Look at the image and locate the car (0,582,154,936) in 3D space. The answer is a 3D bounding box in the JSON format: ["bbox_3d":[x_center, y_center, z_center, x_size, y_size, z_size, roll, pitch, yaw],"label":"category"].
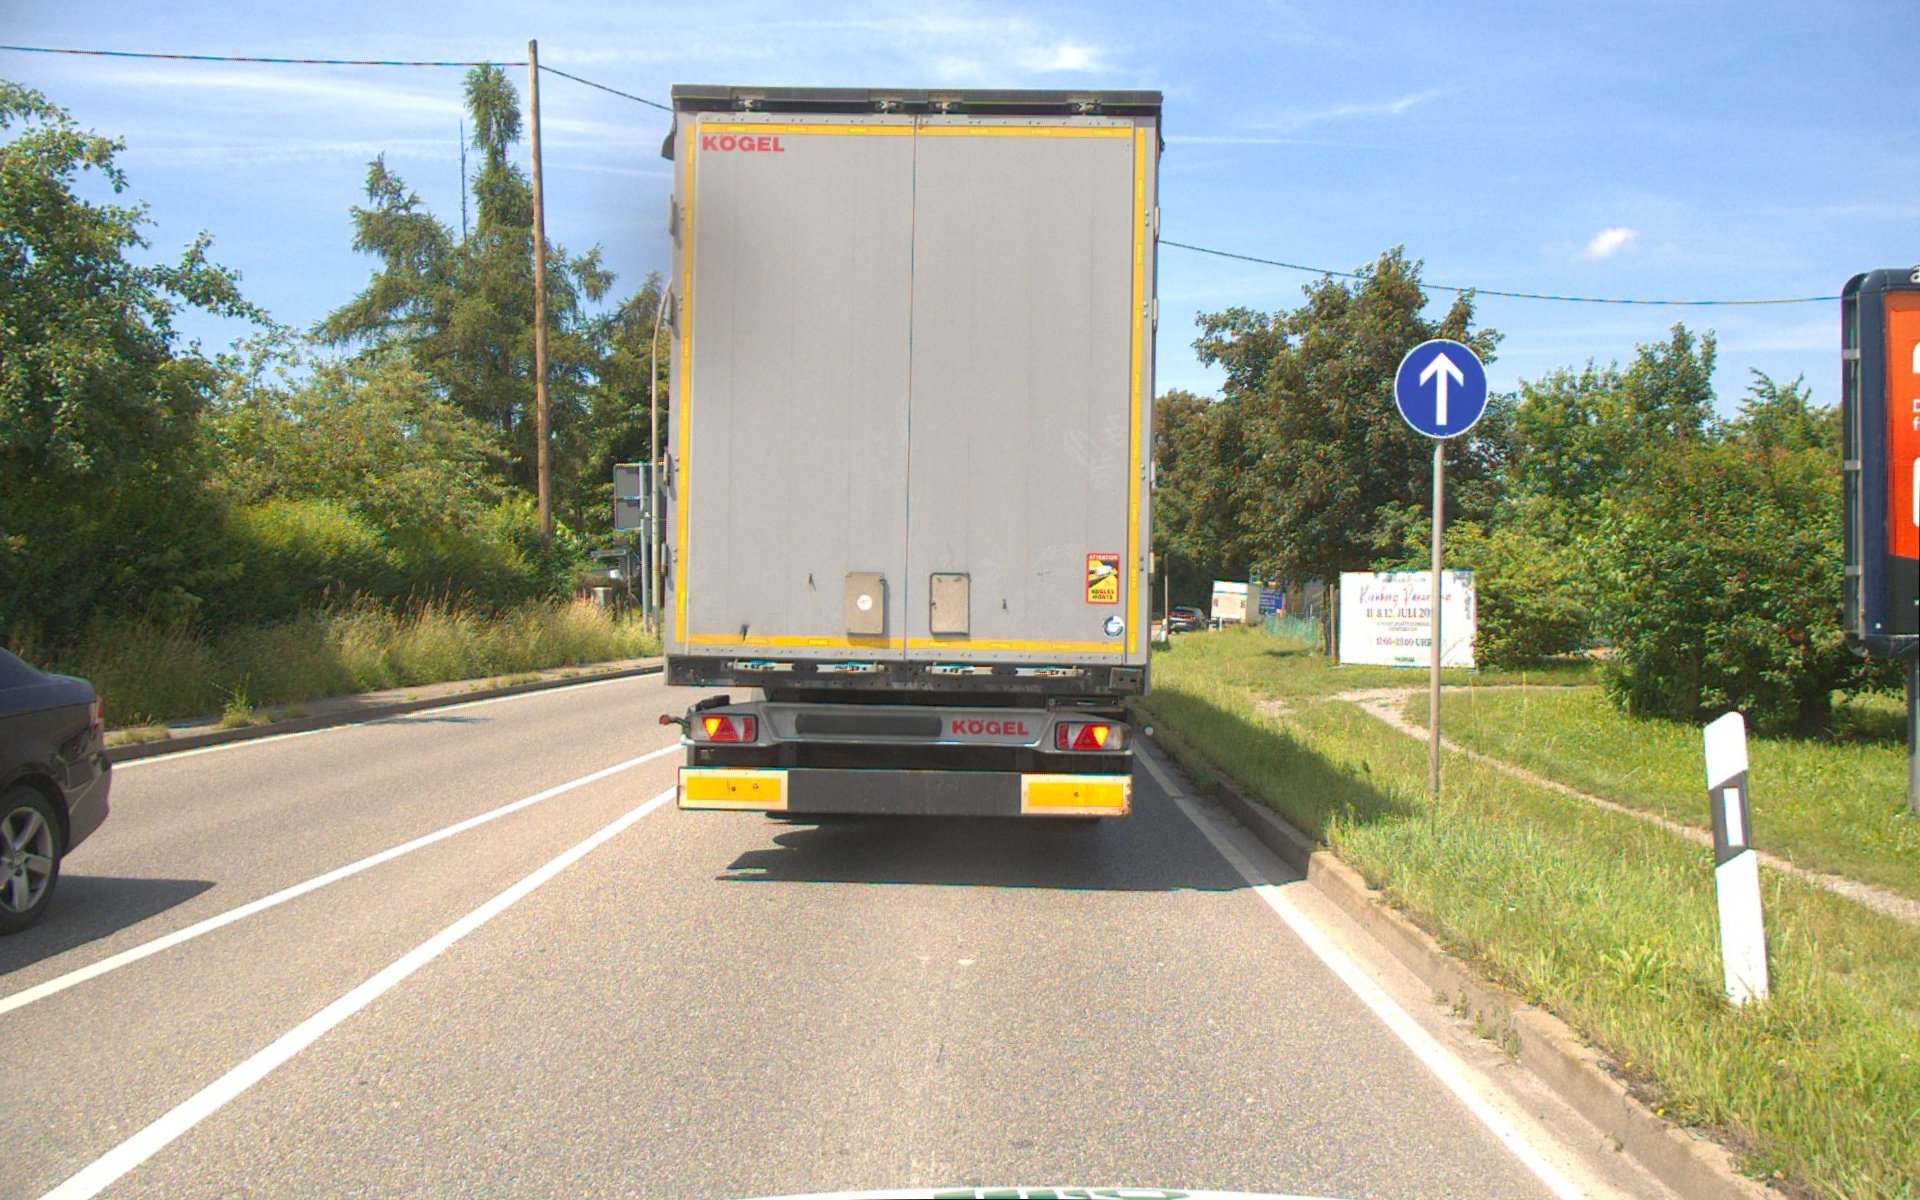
[{"bbox_3d":[-4.834,0.660,5.704,1.777,1.442,4.615,0,1,1],"label":"car"}]

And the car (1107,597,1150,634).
[{"bbox_3d":[8.967,0.805,87.980,1.951,1.870,4.004,1,1,10],"label":"car"}]

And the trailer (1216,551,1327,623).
[{"bbox_3d":[22.269,-0.953,117.155,5.072,4.709,15.898,1,1,20],"label":"trailer"}]

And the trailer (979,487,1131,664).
[{"bbox_3d":[3.124,-0.725,49.413,3.808,4.599,12.723,0,1,6],"label":"trailer"}]

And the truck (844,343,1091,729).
[{"bbox_3d":[0.280,-0.750,21.339,2.688,4.238,6.146,1,1,4],"label":"truck"}]

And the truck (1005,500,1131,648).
[{"bbox_3d":[3.770,-0.826,55.881,3.853,4.655,7.157,0,0,7],"label":"truck"}]

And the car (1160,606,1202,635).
[{"bbox_3d":[12.030,1.093,89.914,1.802,1.512,4.003,0,1,14],"label":"car"}]

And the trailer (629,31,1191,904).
[{"bbox_3d":[-0.075,-0.734,14.215,2.729,4.278,12.114,1,1,2],"label":"trailer"}]

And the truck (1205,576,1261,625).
[{"bbox_3d":[16.750,0.026,101.223,2.370,2.888,5.413,1,1,20],"label":"truck"}]

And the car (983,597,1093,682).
[{"bbox_3d":[1.636,0.734,33.303,1.951,1.556,4.003,1,1,6],"label":"car"}]
